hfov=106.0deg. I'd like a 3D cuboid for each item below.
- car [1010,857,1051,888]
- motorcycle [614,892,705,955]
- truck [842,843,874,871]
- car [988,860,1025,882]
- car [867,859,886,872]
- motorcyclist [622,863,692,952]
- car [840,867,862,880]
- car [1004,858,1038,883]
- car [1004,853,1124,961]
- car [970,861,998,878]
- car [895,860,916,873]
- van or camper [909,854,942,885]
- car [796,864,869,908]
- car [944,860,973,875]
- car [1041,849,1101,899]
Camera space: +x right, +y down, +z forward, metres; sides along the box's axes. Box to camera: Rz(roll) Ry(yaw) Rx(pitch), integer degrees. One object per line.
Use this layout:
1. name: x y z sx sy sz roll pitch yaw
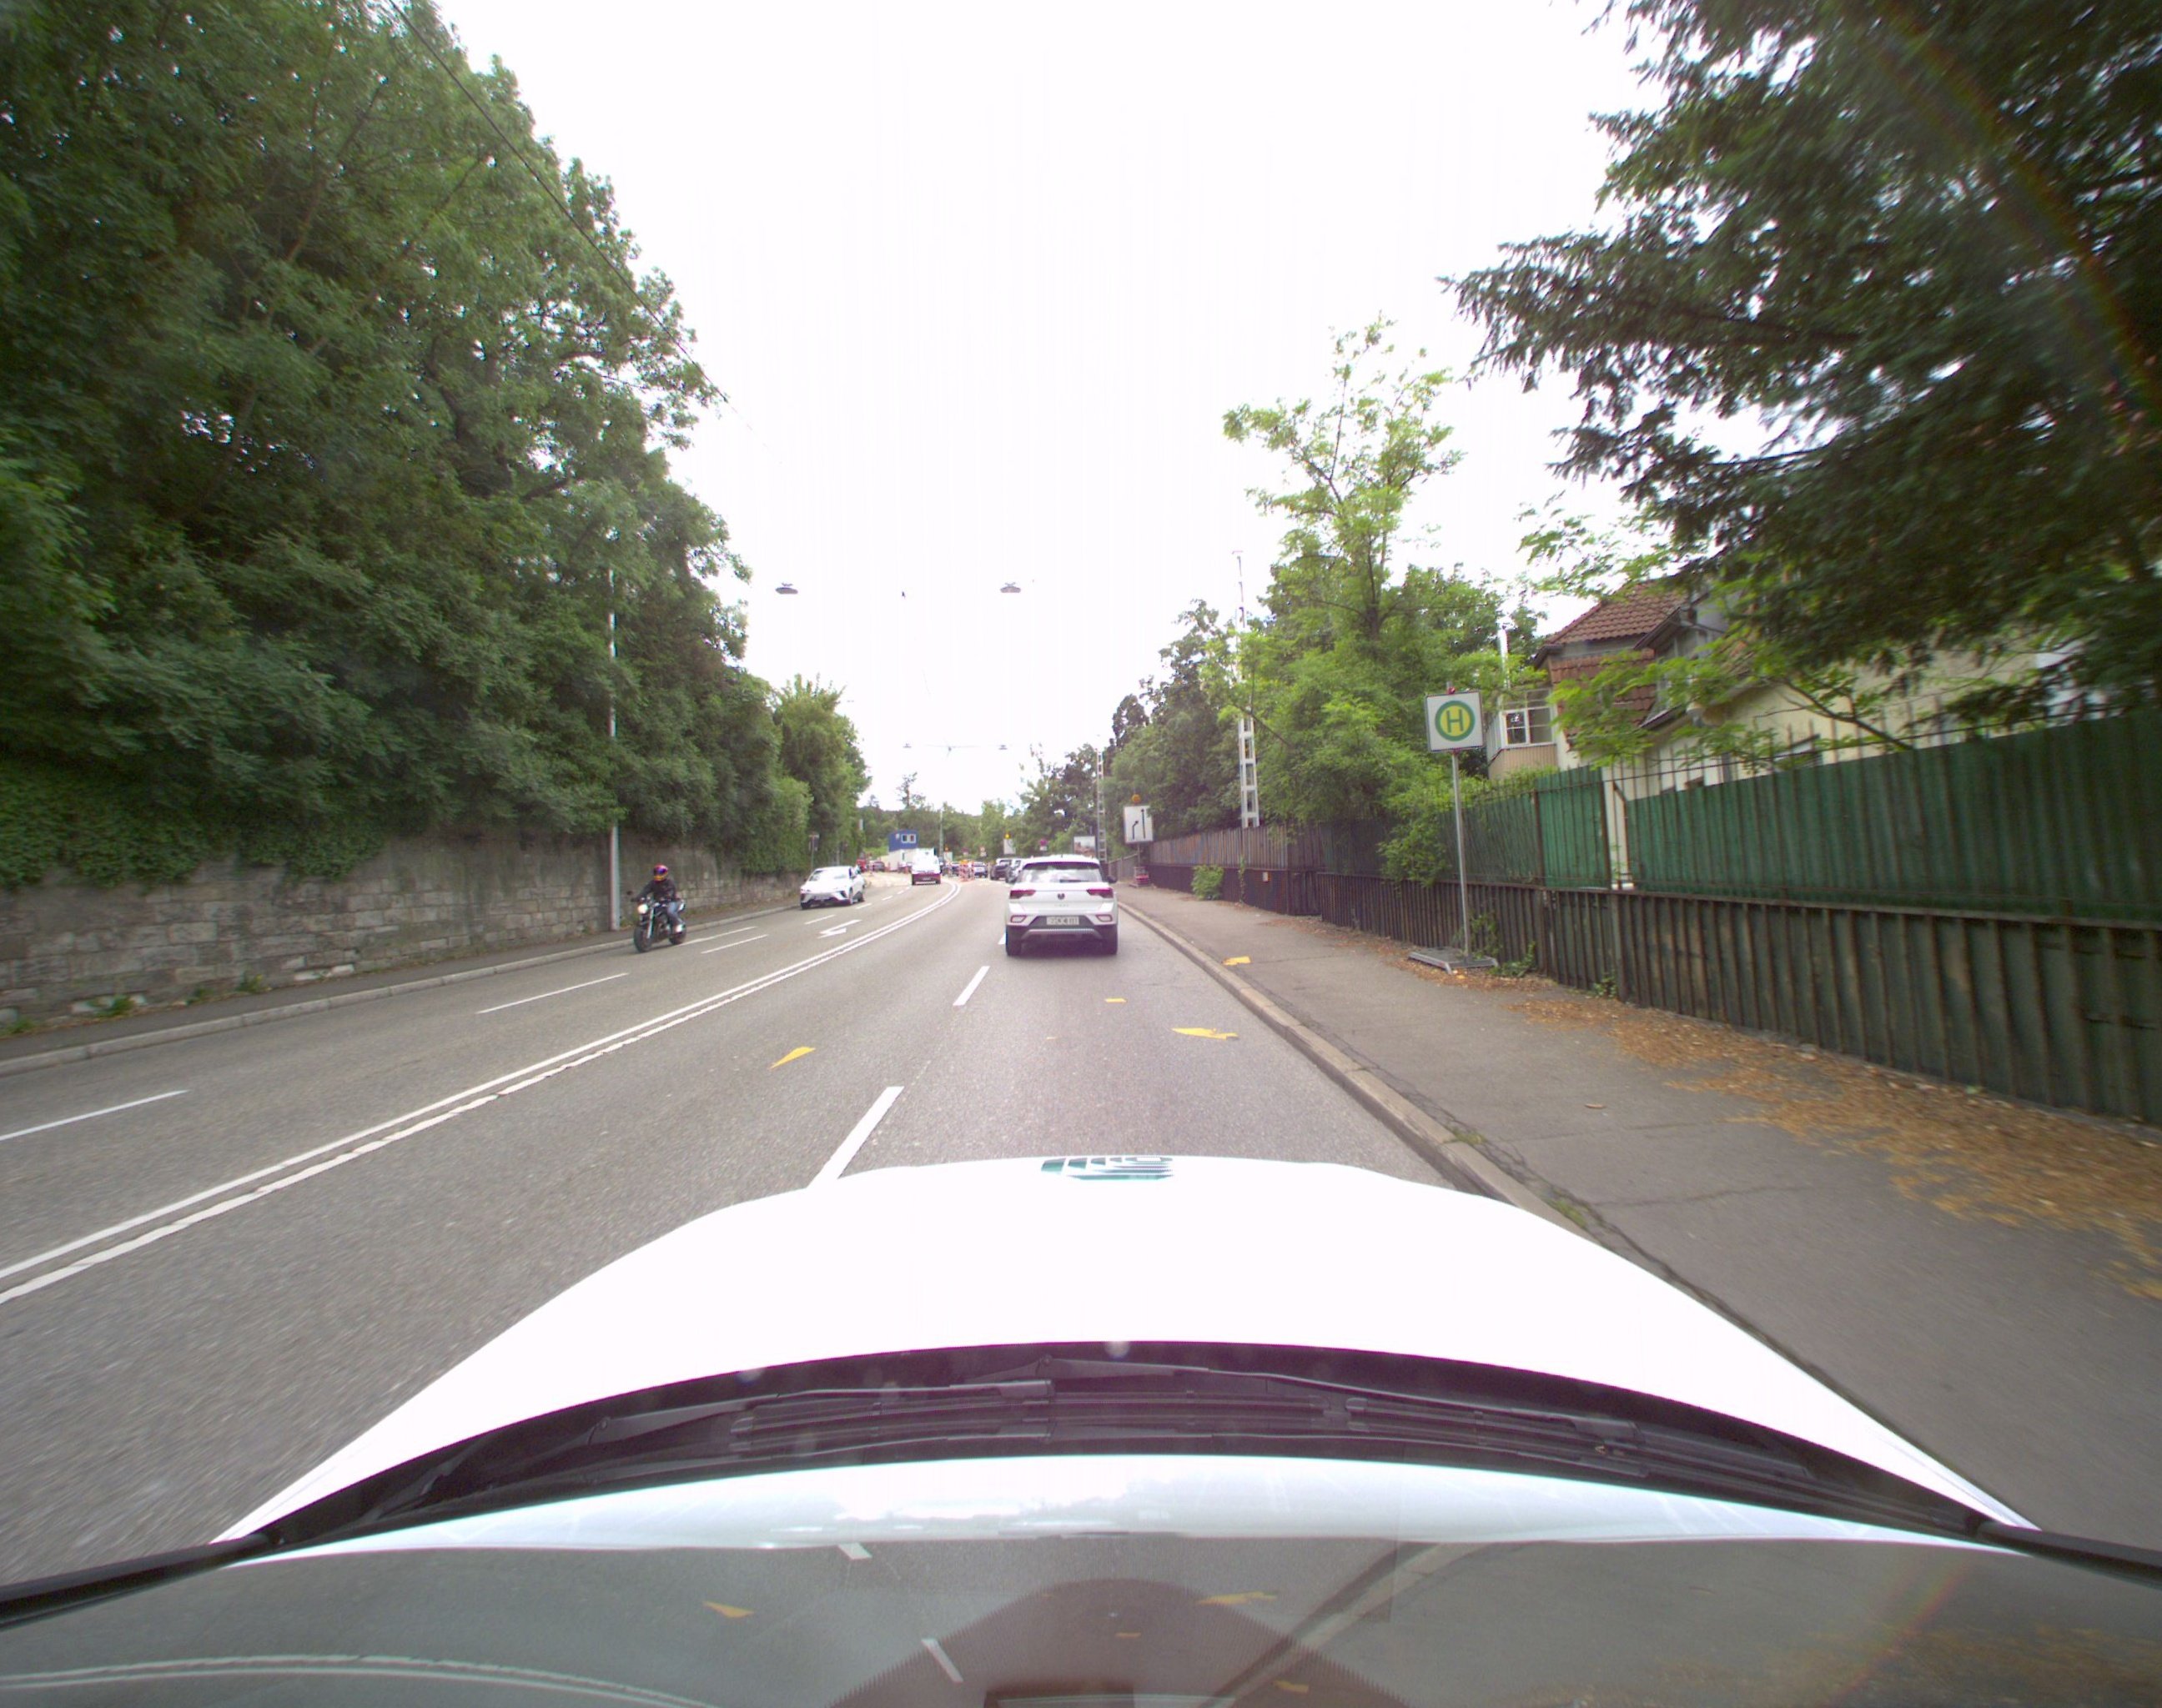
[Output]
1. car: -2.642 0.909 41.665 1.757 1.471 3.784 -1 -1 -9
2. motorcycle: -8.661 1.396 16.863 0.648 1.073 2.307 -4 0 -1
3. truck: -31.507 0.471 114.794 2.958 3.698 9.841 -2 0 -23
4. car: -5.676 1.239 61.537 1.998 1.556 4.128 -2 0 -16
5. car: -29.549 1.624 117.571 1.850 1.699 3.966 -3 0 -26
6. motorcyclist: -8.710 1.058 16.785 0.647 1.705 1.338 -4 0 -1
7. car: -27.937 2.356 98.884 1.905 1.382 3.967 -3 0 -24
8. car: -3.860 1.066 51.895 1.991 1.414 4.142 -3 -1 -6
9. car: -0.323 0.804 13.962 1.753 1.556 3.791 -1 -1 -3
10. car: -8.966 1.420 74.688 1.997 1.450 4.130 -2 -1 -14
11. car: -22.223 1.590 102.971 1.789 1.454 3.968 -2 -1 -24
12. van or camper: -10.456 1.019 55.044 1.888 1.878 4.752 -3 0 -8
13. car: -9.514 1.186 31.486 1.780 1.466 4.093 -4 0 -6
14. car: -12.796 1.448 84.674 2.002 1.450 4.118 -2 -1 -23
15. car: -0.430 0.673 28.601 1.755 1.609 3.787 -1 -1 -6
